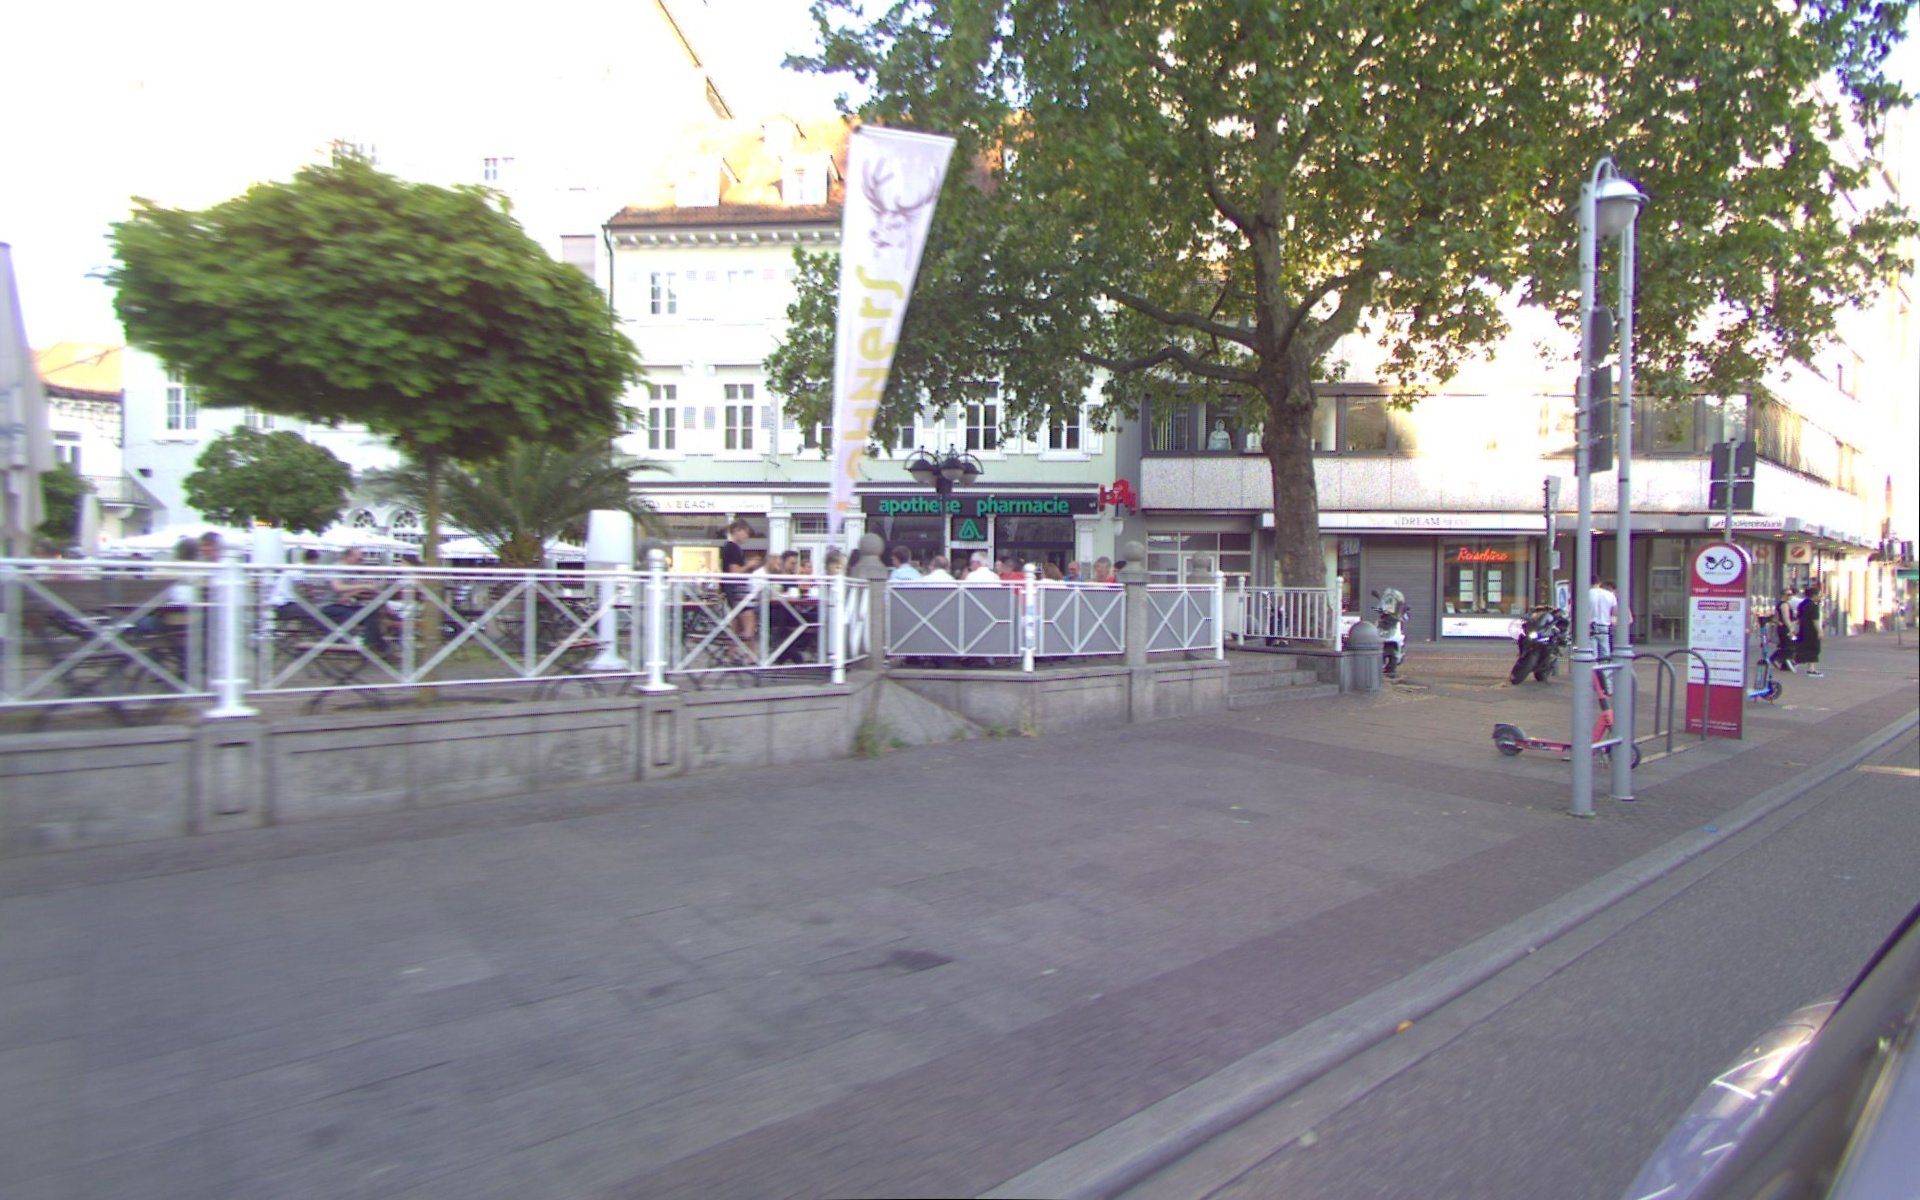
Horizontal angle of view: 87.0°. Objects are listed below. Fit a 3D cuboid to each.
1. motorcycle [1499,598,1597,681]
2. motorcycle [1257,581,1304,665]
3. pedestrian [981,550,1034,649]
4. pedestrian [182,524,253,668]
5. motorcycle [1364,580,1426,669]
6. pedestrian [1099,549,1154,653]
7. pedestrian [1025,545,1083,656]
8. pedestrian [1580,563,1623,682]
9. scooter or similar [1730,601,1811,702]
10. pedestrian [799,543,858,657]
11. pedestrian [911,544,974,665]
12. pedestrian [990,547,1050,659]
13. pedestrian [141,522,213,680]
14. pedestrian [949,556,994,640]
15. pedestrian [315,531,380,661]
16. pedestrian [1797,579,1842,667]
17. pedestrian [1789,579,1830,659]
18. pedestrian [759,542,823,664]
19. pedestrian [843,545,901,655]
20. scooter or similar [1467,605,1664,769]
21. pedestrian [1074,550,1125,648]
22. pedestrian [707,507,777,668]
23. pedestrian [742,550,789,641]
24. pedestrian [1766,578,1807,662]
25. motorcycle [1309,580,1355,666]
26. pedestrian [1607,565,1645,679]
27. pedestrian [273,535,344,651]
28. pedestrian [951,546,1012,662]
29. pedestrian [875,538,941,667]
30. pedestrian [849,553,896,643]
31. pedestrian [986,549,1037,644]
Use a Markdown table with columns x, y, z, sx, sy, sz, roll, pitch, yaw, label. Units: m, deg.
| x | y | z | sx | sy | sz | roll | pitch | yaw | label |
| --- | --- | --- | --- | --- | --- | --- | --- | --- | --- |
| 9.228 | 0.577 | 15.853 | 1.933 | 1.200 | 0.705 | 0 | 2 | -41 | motorcycle |
| 5.847 | 0.422 | 18.389 | 0.697 | 1.424 | 1.955 | 2 | -1 | 20 | motorcycle |
| 0.639 | -0.012 | 13.676 | 0.482 | 1.313 | 0.531 | 0 | 0 | -40 | pedestrian |
| -7.237 | -0.040 | 9.866 | 0.523 | 1.350 | 0.490 | 0 | 0 | -40 | pedestrian |
| 7.455 | 0.418 | 17.288 | 0.700 | 1.424 | 1.946 | 2 | -1 | 31 | motorcycle |
| 2.212 | 0.004 | 13.467 | 0.482 | 1.350 | 0.531 | 0 | 0 | -40 | pedestrian |
| 1.174 | 0.006 | 12.678 | 0.482 | 1.350 | 0.531 | 0 | 0 | -40 | pedestrian |
| 9.751 | 0.329 | 15.383 | 0.403 | 1.758 | 0.430 | 0 | 2 | -45 | pedestrian |
| 11.005 | 0.659 | 13.730 | 1.627 | 1.247 | 0.534 | -1 | 3 | -41 | scooter or similar |
| -1.565 | -0.005 | 12.046 | 0.482 | 1.313 | 0.531 | 0 | 0 | -40 | pedestrian |
| -0.196 | 0.046 | 11.335 | 0.482 | 1.313 | 0.531 | 0 | 0 | -40 | pedestrian |
| 0.717 | 0.032 | 12.166 | 0.482 | 1.313 | 0.531 | 0 | 0 | -40 | pedestrian |
| -6.960 | 0.007 | 8.996 | 0.482 | 1.350 | 0.531 | 0 | 0 | -40 | pedestrian |
| 0.178 | -0.039 | 16.144 | 0.482 | 1.313 | 0.531 | 0 | 0 | -40 | pedestrian |
| -6.563 | -0.046 | 10.837 | 0.523 | 1.350 | 0.490 | 0 | 0 | -40 | pedestrian |
| 16.461 | 0.433 | 19.393 | 0.635 | 1.645 | 0.512 | 0 | 1 | 39 | pedestrian |
| 17.790 | 0.384 | 21.204 | 0.635 | 1.645 | 0.512 | 0 | 1 | 39 | pedestrian |
| -1.882 | 0.028 | 11.242 | 0.523 | 1.313 | 0.490 | 0 | 0 | -40 | pedestrian |
| -1.087 | -0.005 | 12.478 | 0.482 | 1.313 | 0.531 | 0 | 0 | -40 | pedestrian |
| 5.253 | 0.710 | 8.834 | 0.526 | 1.247 | 1.343 | -1 | 3 | -42 | scooter or similar |
| 1.989 | -0.018 | 14.433 | 0.523 | 1.350 | 0.490 | 0 | 0 | -40 | pedestrian |
| -2.219 | -0.126 | 10.304 | 0.523 | 1.578 | 0.490 | 0 | 0 | -40 | pedestrian |
| -2.863 | -0.072 | 14.907 | 0.482 | 1.313 | 0.531 | 0 | 0 | -40 | pedestrian |
| 16.657 | 0.387 | 20.412 | 0.635 | 1.645 | 0.512 | 0 | 1 | 39 | pedestrian |
| 6.666 | 0.410 | 18.174 | 0.697 | 1.424 | 1.955 | 2 | -1 | 20 | motorcycle |
| 10.437 | 0.332 | 15.869 | 0.428 | 1.758 | 0.405 | 2 | 1 | 31 | pedestrian |
| -7.913 | -0.089 | 12.293 | 0.653 | 1.350 | 0.628 | 0 | 0 | -40 | pedestrian |
| 0.252 | 0.041 | 11.808 | 0.482 | 1.313 | 0.531 | 0 | 0 | -40 | pedestrian |
| -0.559 | 0.021 | 10.890 | 0.482 | 1.350 | 0.531 | 0 | 0 | -40 | pedestrian |
| -1.305 | -0.032 | 15.080 | 0.482 | 1.313 | 0.531 | 0 | 0 | -40 | pedestrian |
| 0.733 | -0.057 | 14.338 | 0.482 | 1.313 | 0.531 | 0 | 0 | -40 | pedestrian |
